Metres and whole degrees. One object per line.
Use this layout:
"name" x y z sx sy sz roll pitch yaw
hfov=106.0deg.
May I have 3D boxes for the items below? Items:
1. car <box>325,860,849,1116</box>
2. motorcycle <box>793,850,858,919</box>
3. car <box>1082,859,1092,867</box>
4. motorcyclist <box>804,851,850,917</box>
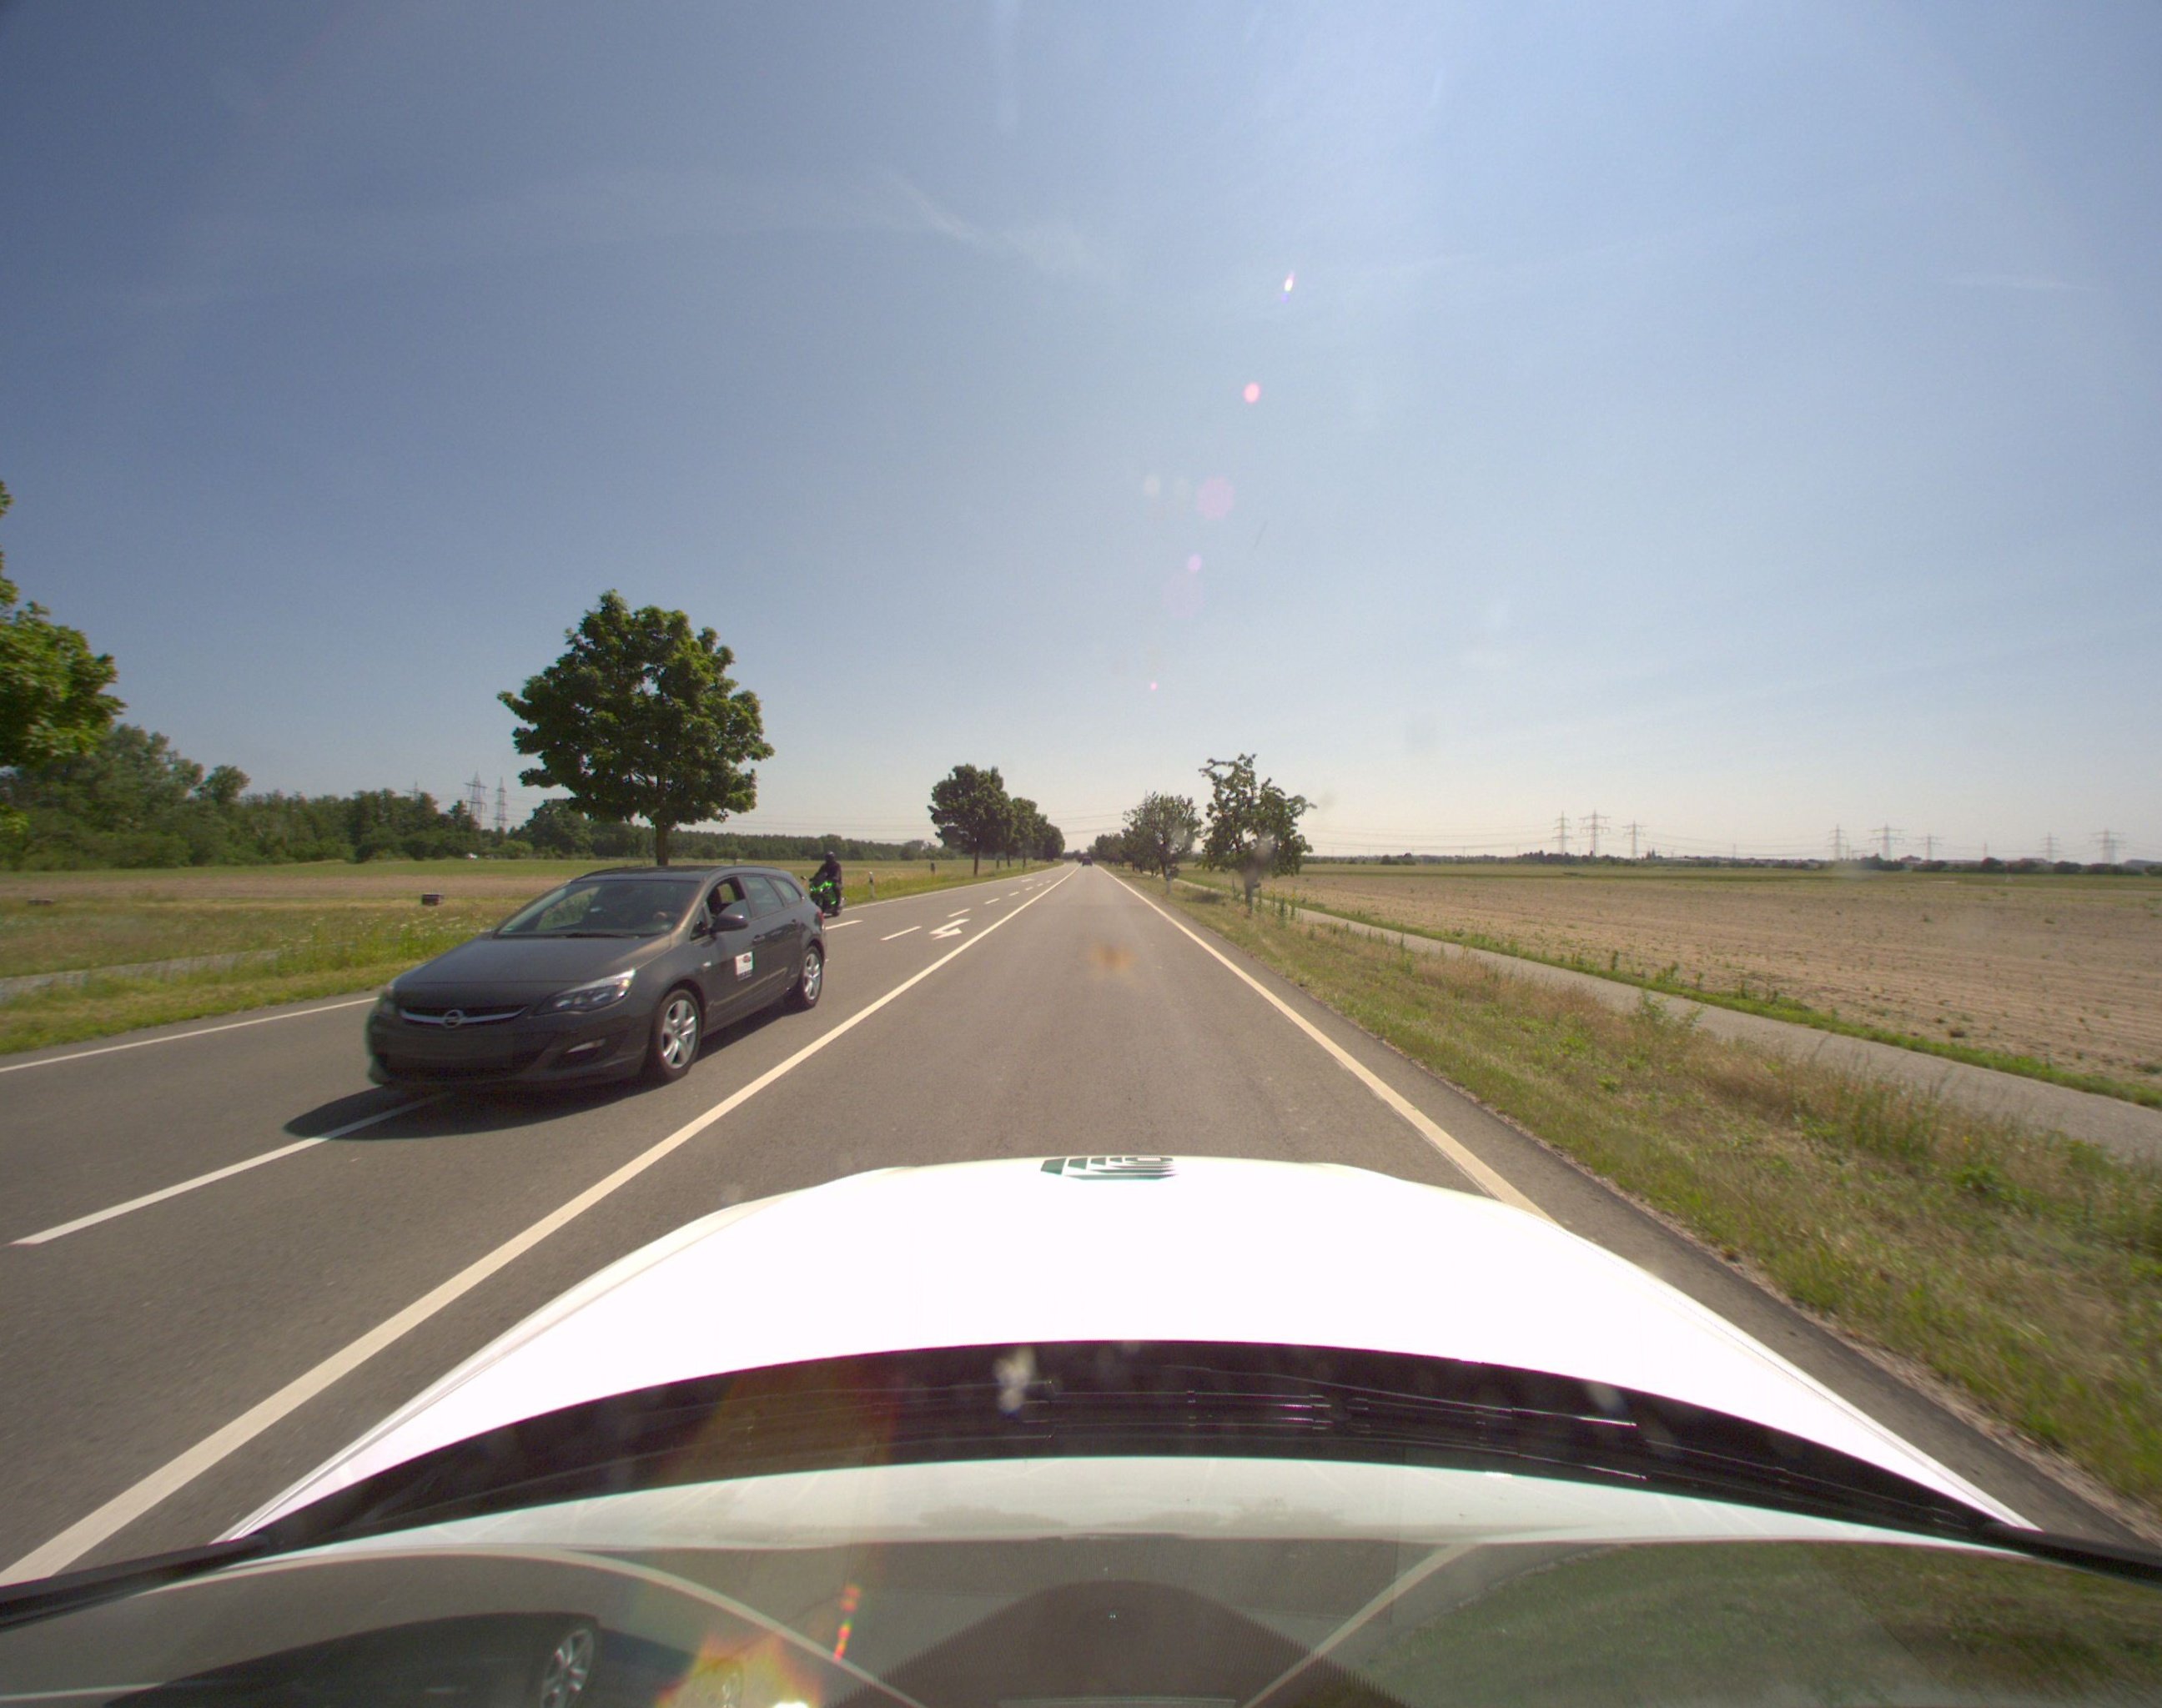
"car" -3.577 0.806 7.122 1.734 1.473 4.617 -1 0 0
"motorcycle" -6.804 0.783 21.849 0.885 1.743 2.446 -1 0 2
"car" 1.139 1.715 154.646 1.878 1.518 4.039 2 0 0
"motorcyclist" -6.800 0.793 21.868 0.850 1.721 1.089 -1 -1 2
